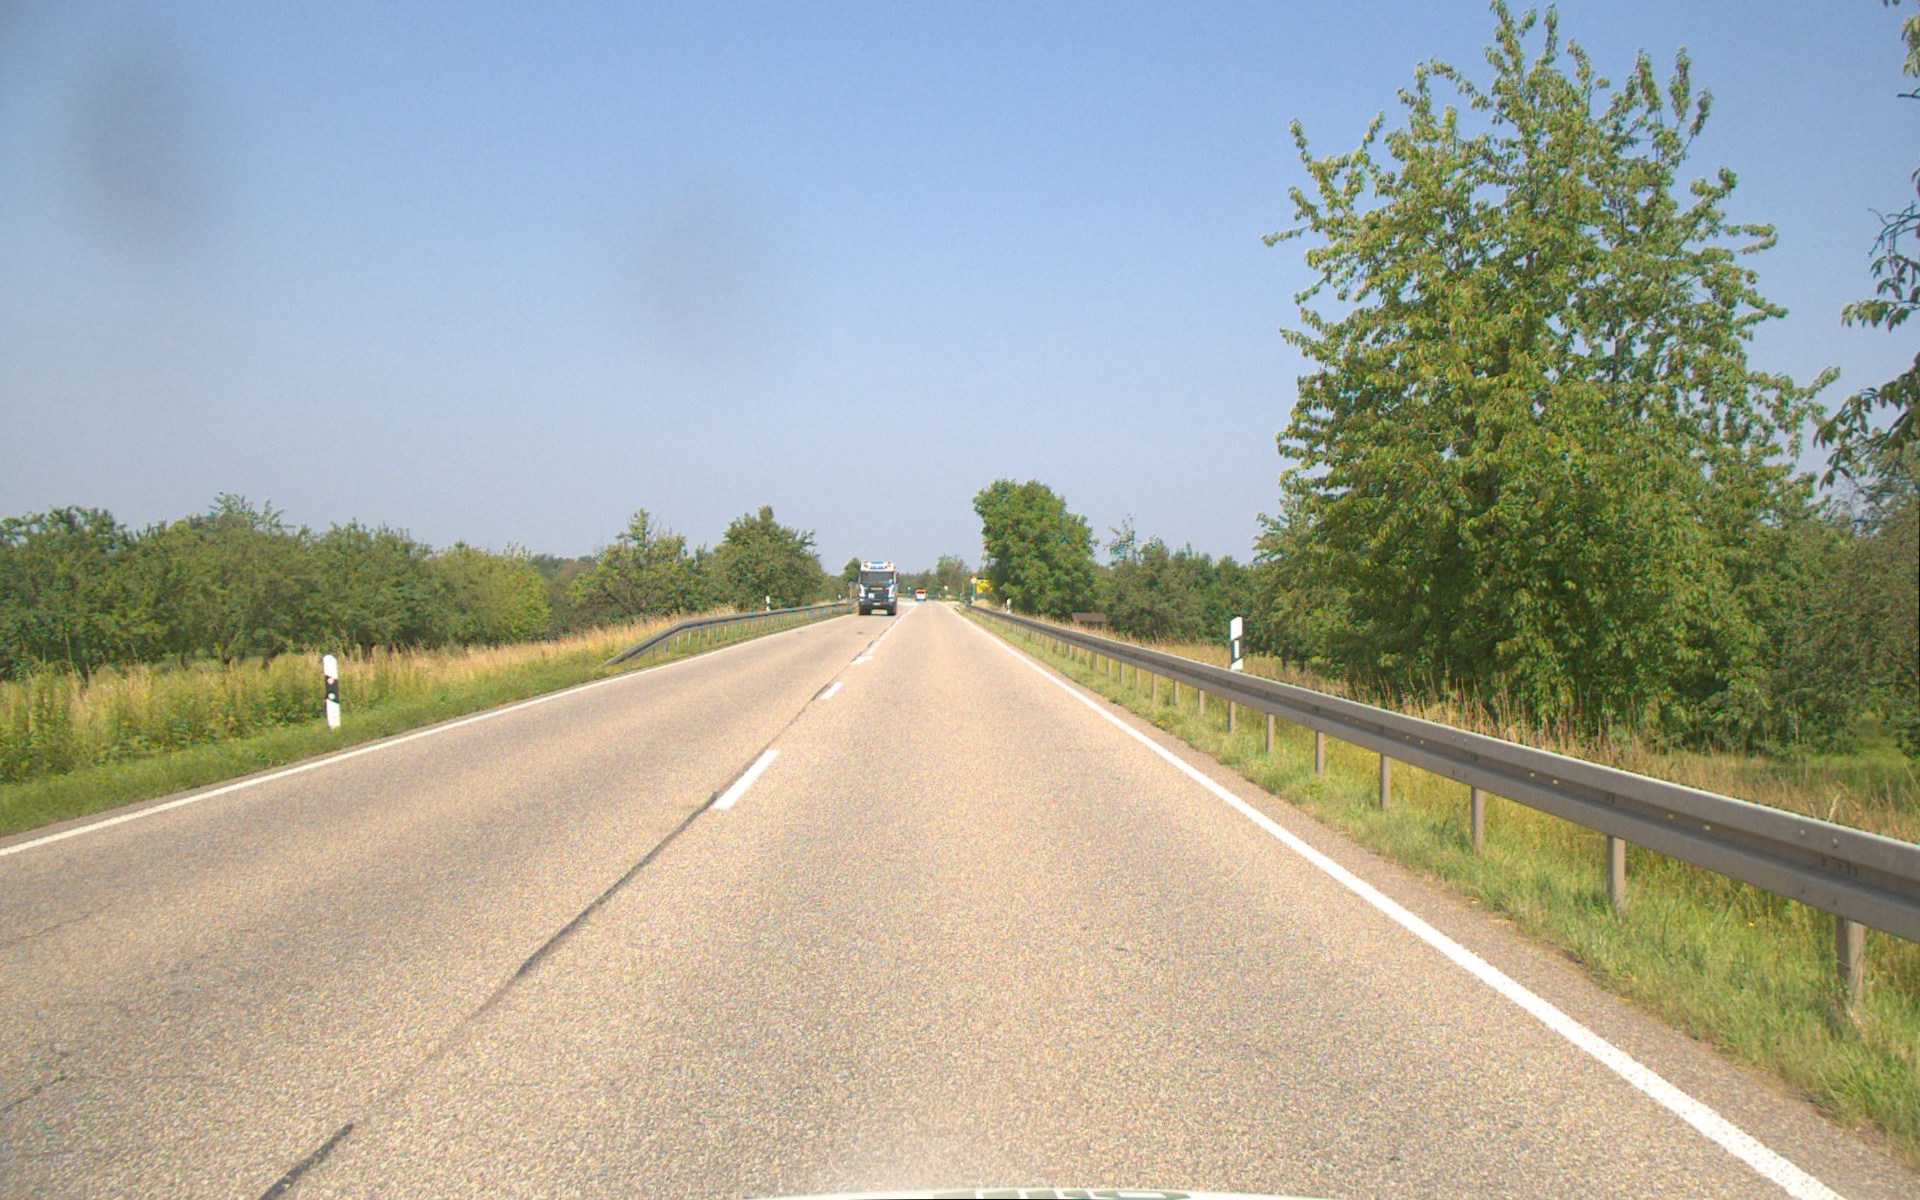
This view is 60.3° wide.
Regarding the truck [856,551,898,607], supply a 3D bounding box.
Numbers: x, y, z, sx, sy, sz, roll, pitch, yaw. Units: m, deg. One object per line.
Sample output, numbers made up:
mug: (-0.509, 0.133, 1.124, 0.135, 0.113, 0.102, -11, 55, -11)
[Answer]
truck: (-5.702, -1.374, 114.836, 2.673, 3.736, 9.380, 0, 0, -1)
